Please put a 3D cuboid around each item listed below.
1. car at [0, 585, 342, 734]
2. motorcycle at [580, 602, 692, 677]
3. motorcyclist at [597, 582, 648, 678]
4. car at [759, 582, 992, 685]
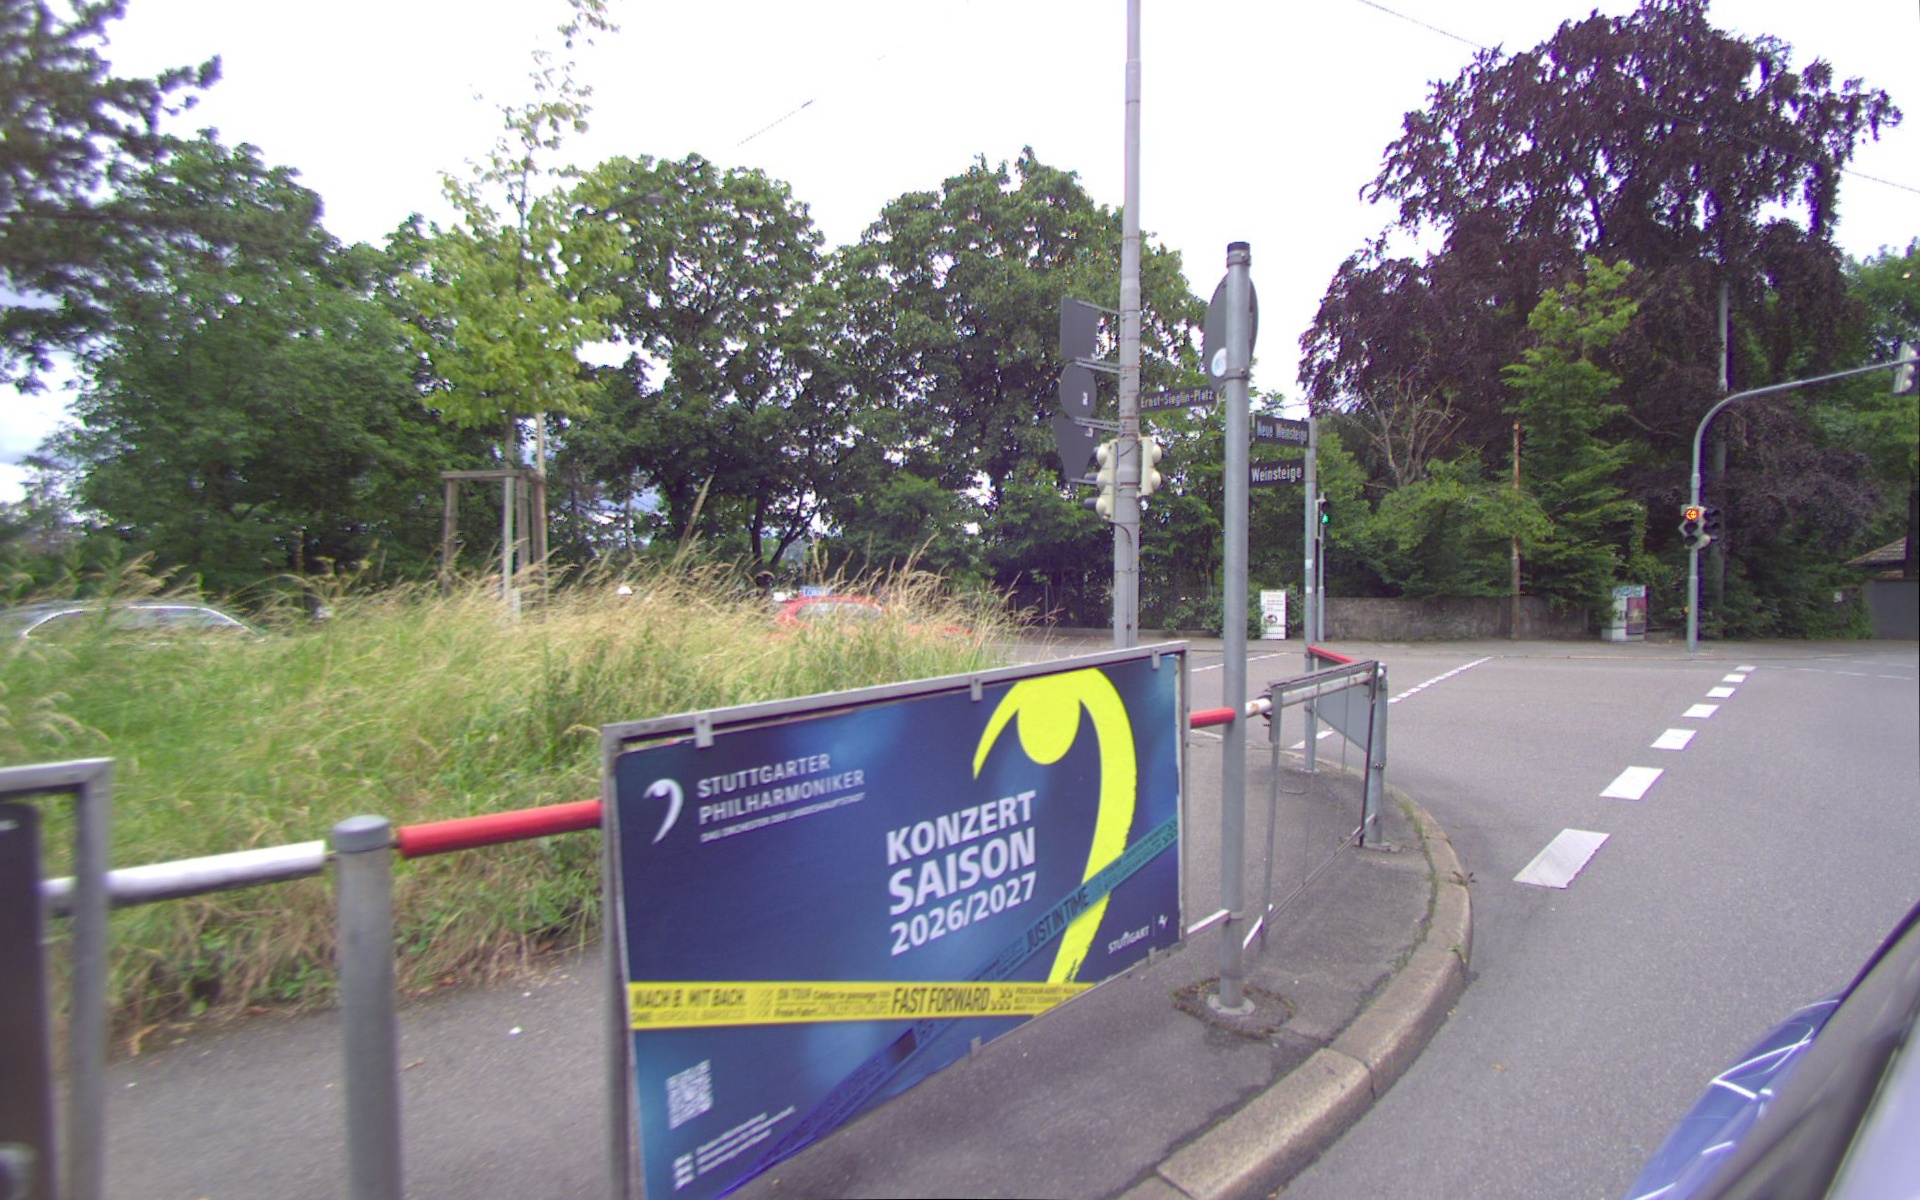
[{"bbox_3d":[-11.160,0.722,14.388,3.925,1.749,1.926,-2,2,-35],"label":"car"},{"bbox_3d":[-5.649,0.678,17.700,1.716,1.248,0.726,0,1,3],"label":"motorcycle"},{"bbox_3d":[-5.914,0.509,17.771,0.637,1.624,0.726,0,1,3],"label":"motorcyclist"},{"bbox_3d":[-1.343,0.534,16.991,3.636,1.523,1.650,-1,3,7],"label":"car"}]
